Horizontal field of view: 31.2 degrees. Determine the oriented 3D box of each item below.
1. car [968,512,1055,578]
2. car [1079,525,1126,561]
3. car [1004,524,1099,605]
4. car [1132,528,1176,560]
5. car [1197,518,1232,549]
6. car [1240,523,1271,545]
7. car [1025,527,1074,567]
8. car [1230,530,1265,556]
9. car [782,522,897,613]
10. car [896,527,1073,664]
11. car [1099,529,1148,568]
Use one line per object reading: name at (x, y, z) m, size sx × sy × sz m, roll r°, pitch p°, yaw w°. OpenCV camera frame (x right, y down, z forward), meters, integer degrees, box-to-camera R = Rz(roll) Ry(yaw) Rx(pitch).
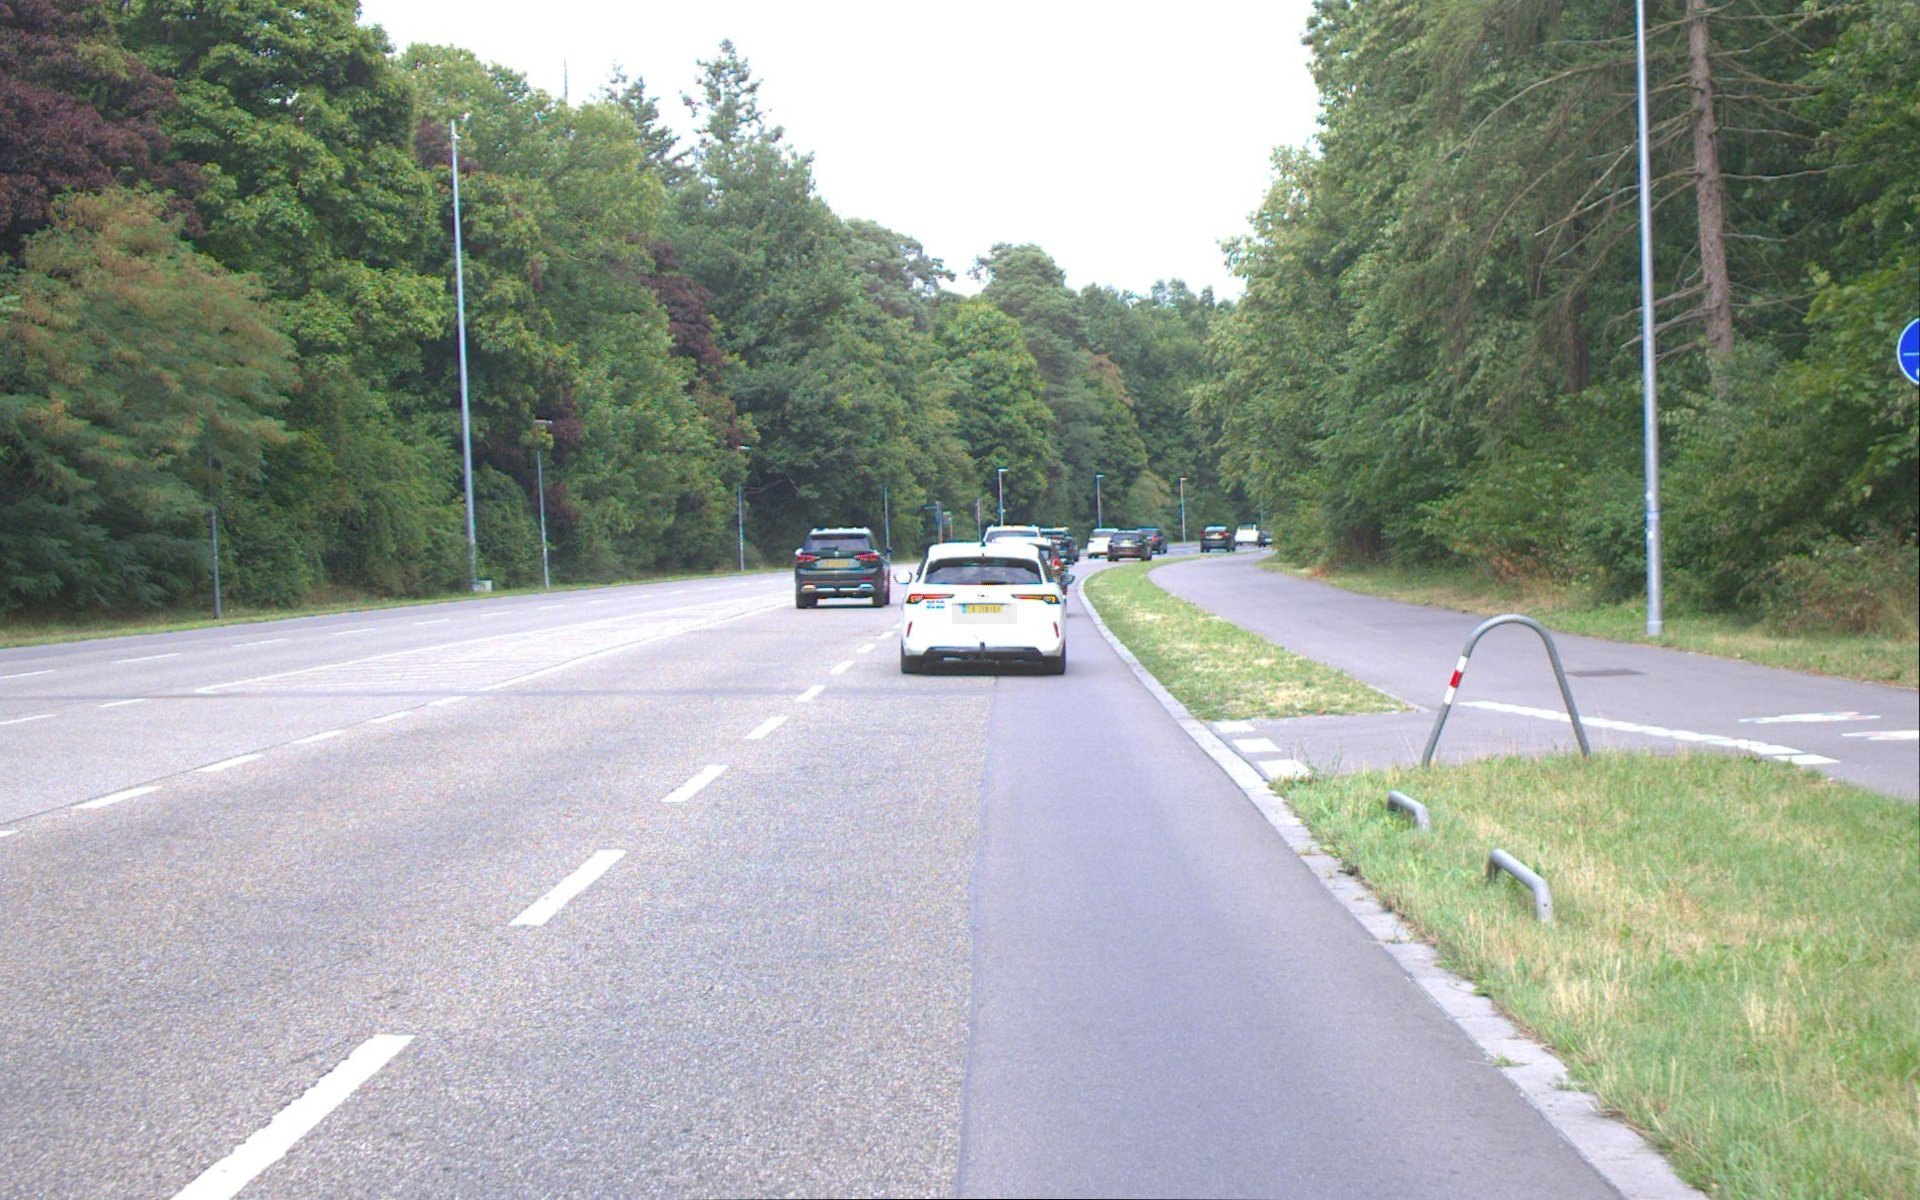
car at (1.295, -1.428, 88.251) m, size 1.993 × 1.601 × 4.001 m, roll 1°, pitch 1°, yaw -2°
car at (7.469, -2.972, 180.095) m, size 1.994 × 1.777 × 3.999 m, roll 2°, pitch 0°, yaw 8°
car at (1.714, -0.646, 63.298) m, size 1.635 × 1.415 × 4.000 m, roll 1°, pitch 0°, yaw 3°
car at (11.121, -3.208, 196.991) m, size 1.994 × 1.777 × 3.998 m, roll 2°, pitch 0°, yaw 10°
car at (15.301, -3.963, 206.271) m, size 1.994 × 1.777 × 3.999 m, roll 1°, pitch 0°, yaw 5°
car at (19.973, -4.451, 232.077) m, size 1.994 × 1.404 × 3.999 m, roll 2°, pitch 0°, yaw 6°
car at (4.166, -2.434, 159.485) m, size 1.994 × 1.777 × 3.999 m, roll 1°, pitch 0°, yaw 5°
car at (20.627, -4.085, 246.639) m, size 1.889 × 1.809 × 3.998 m, roll 2°, pitch 0°, yaw 13°
car at (-2.458, -0.664, 70.807) m, size 1.994 × 1.780 × 4.000 m, roll 1°, pitch 0°, yaw 3°
car at (0.283, -0.064, 38.206) m, size 1.836 × 1.405 × 4.491 m, roll -1°, pitch 0°, yaw 1°
car at (7.729, -2.432, 162.398) m, size 1.994 × 1.777 × 3.999 m, roll 2°, pitch 0°, yaw 7°
